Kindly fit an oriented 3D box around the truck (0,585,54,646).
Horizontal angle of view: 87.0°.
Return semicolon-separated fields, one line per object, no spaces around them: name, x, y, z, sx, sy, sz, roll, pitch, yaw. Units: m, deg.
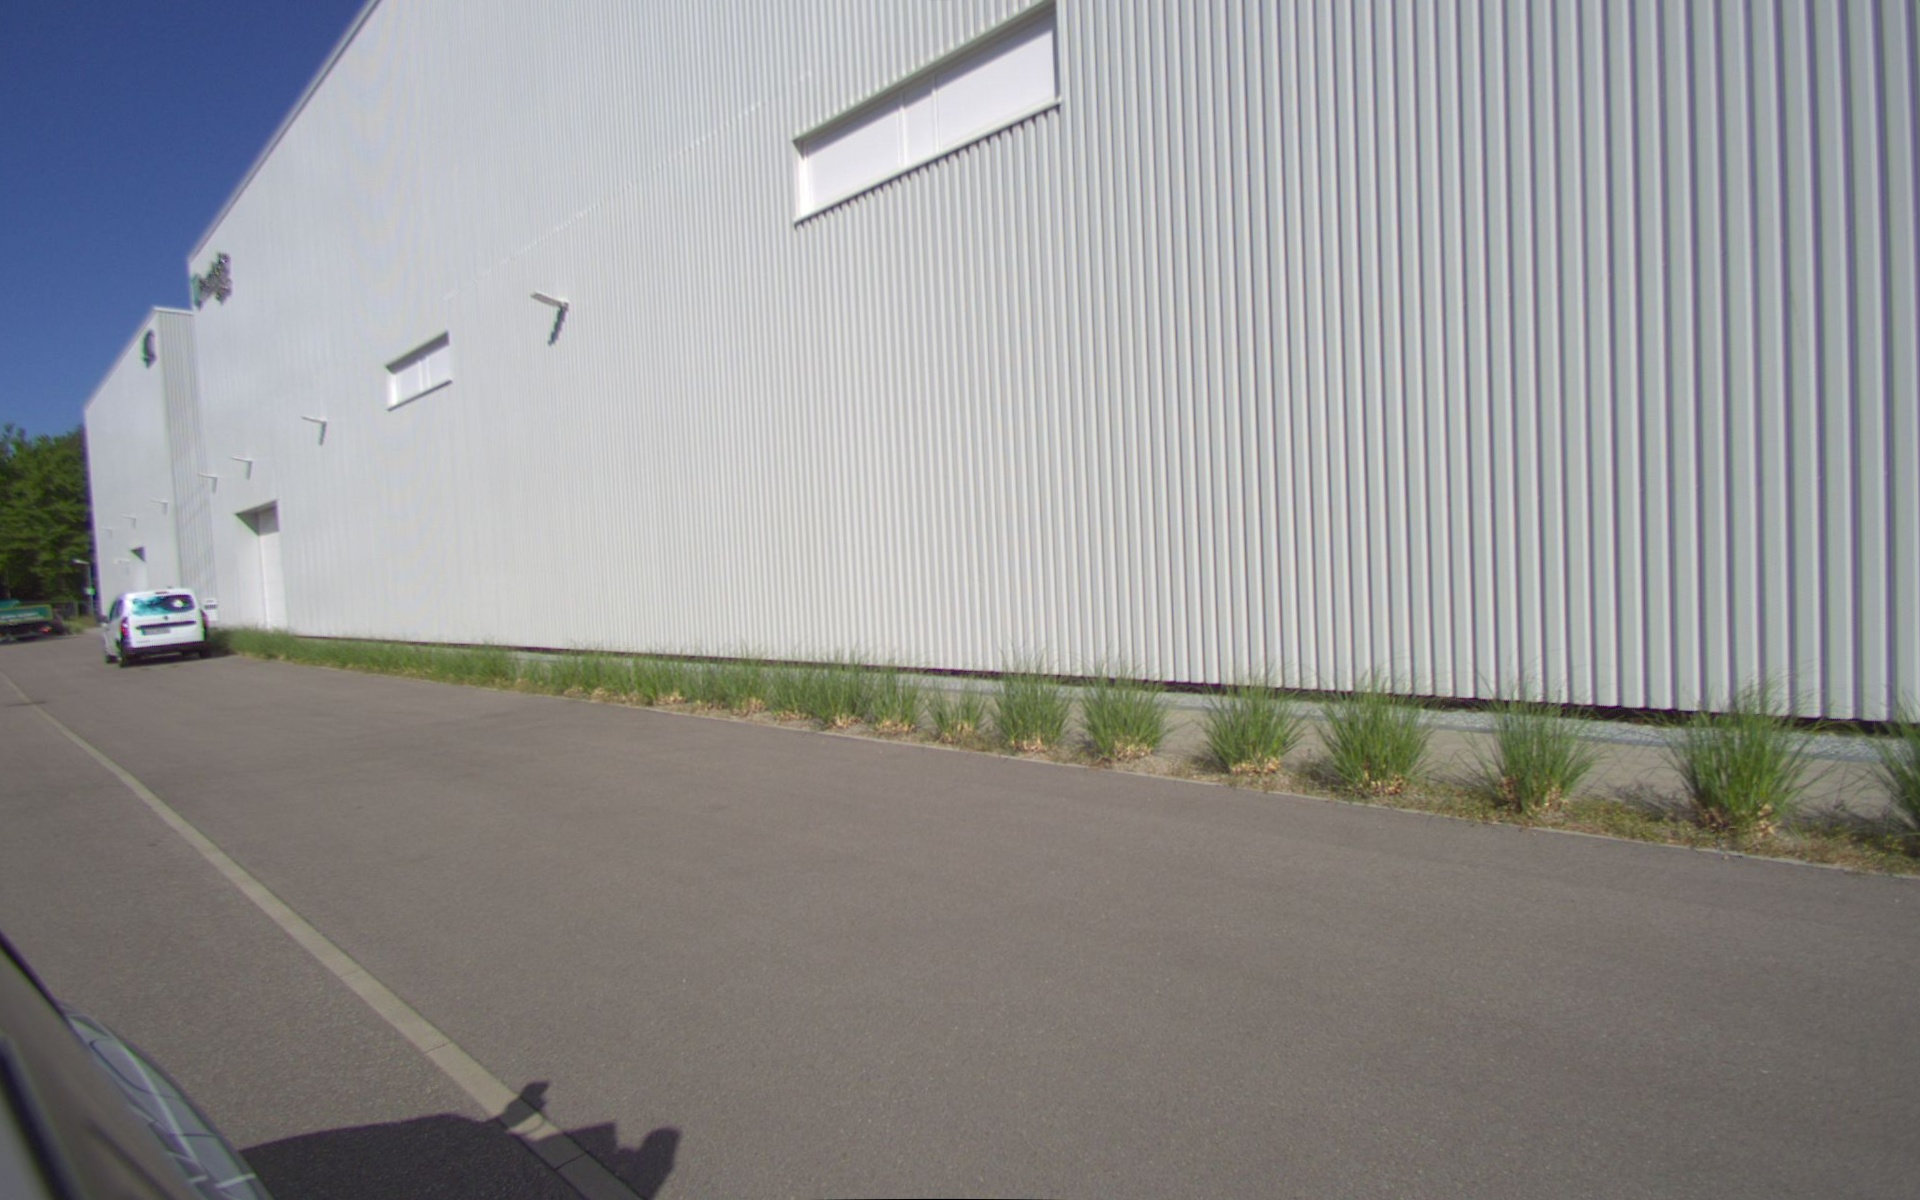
truck;-49.102;0.925;50.812;9.662;2.736;2.563;-2;4;32

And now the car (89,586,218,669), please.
car;-20.682;0.677;25.878;4.599;1.803;1.907;-1;4;44
